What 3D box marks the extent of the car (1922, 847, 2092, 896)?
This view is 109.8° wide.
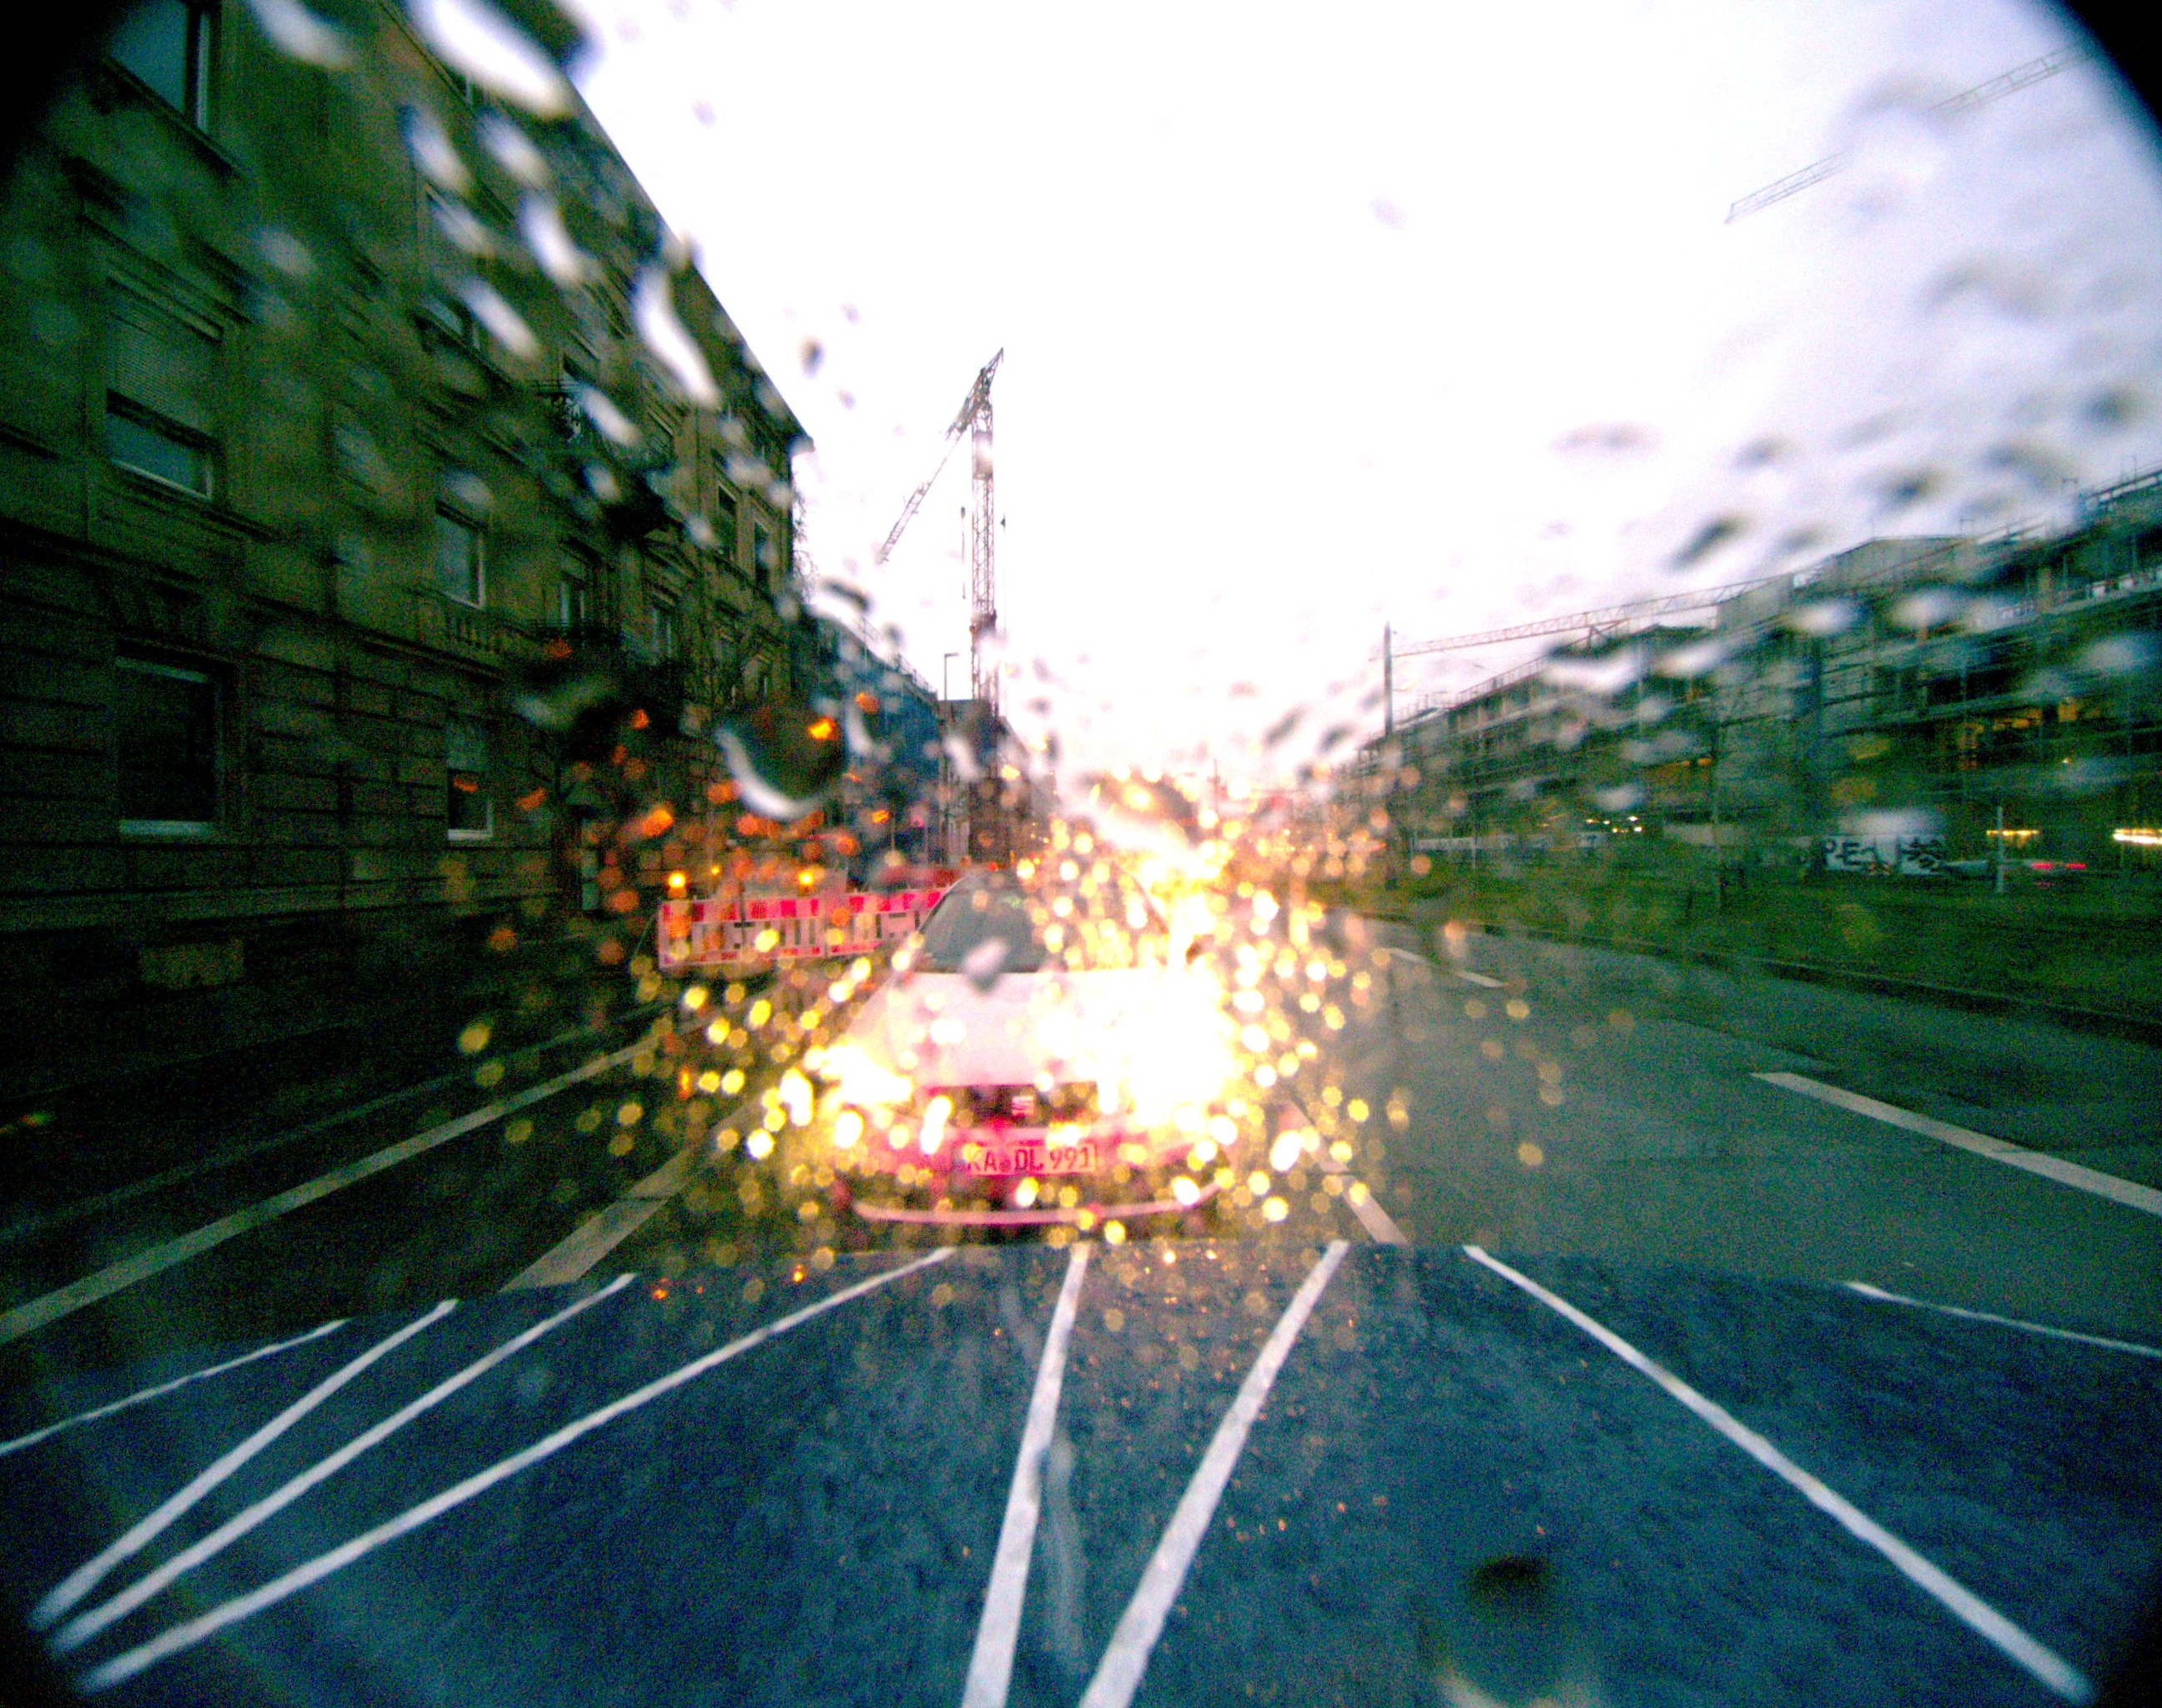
[{"bbox_3d":[36.870,0.626,30.430,1.998,1.761,4.000,-2,1,2],"label":"car"}]

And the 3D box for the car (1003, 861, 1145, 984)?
[{"bbox_3d":[-0.128,0.898,11.755,1.764,1.443,3.999,-2,1,-1],"label":"car"}]

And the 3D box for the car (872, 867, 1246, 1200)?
[{"bbox_3d":[-0.142,0.907,5.698,1.764,1.443,3.999,-2,1,-1],"label":"car"}]

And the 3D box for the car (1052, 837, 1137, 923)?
[{"bbox_3d":[0.263,0.577,19.254,1.858,1.886,3.999,-2,1,-1],"label":"car"}]

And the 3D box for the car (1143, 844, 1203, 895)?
[{"bbox_3d":[3.391,0.514,28.587,1.857,1.723,4.000,-2,1,2],"label":"car"}]

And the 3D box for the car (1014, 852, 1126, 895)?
[{"bbox_3d":[-0.432,0.807,32.238,4.315,1.644,1.848,-2,1,17],"label":"car"}]

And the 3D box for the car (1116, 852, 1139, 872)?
[{"bbox_3d":[3.970,0.694,65.535,1.844,1.547,4.000,-2,1,3],"label":"car"}]
